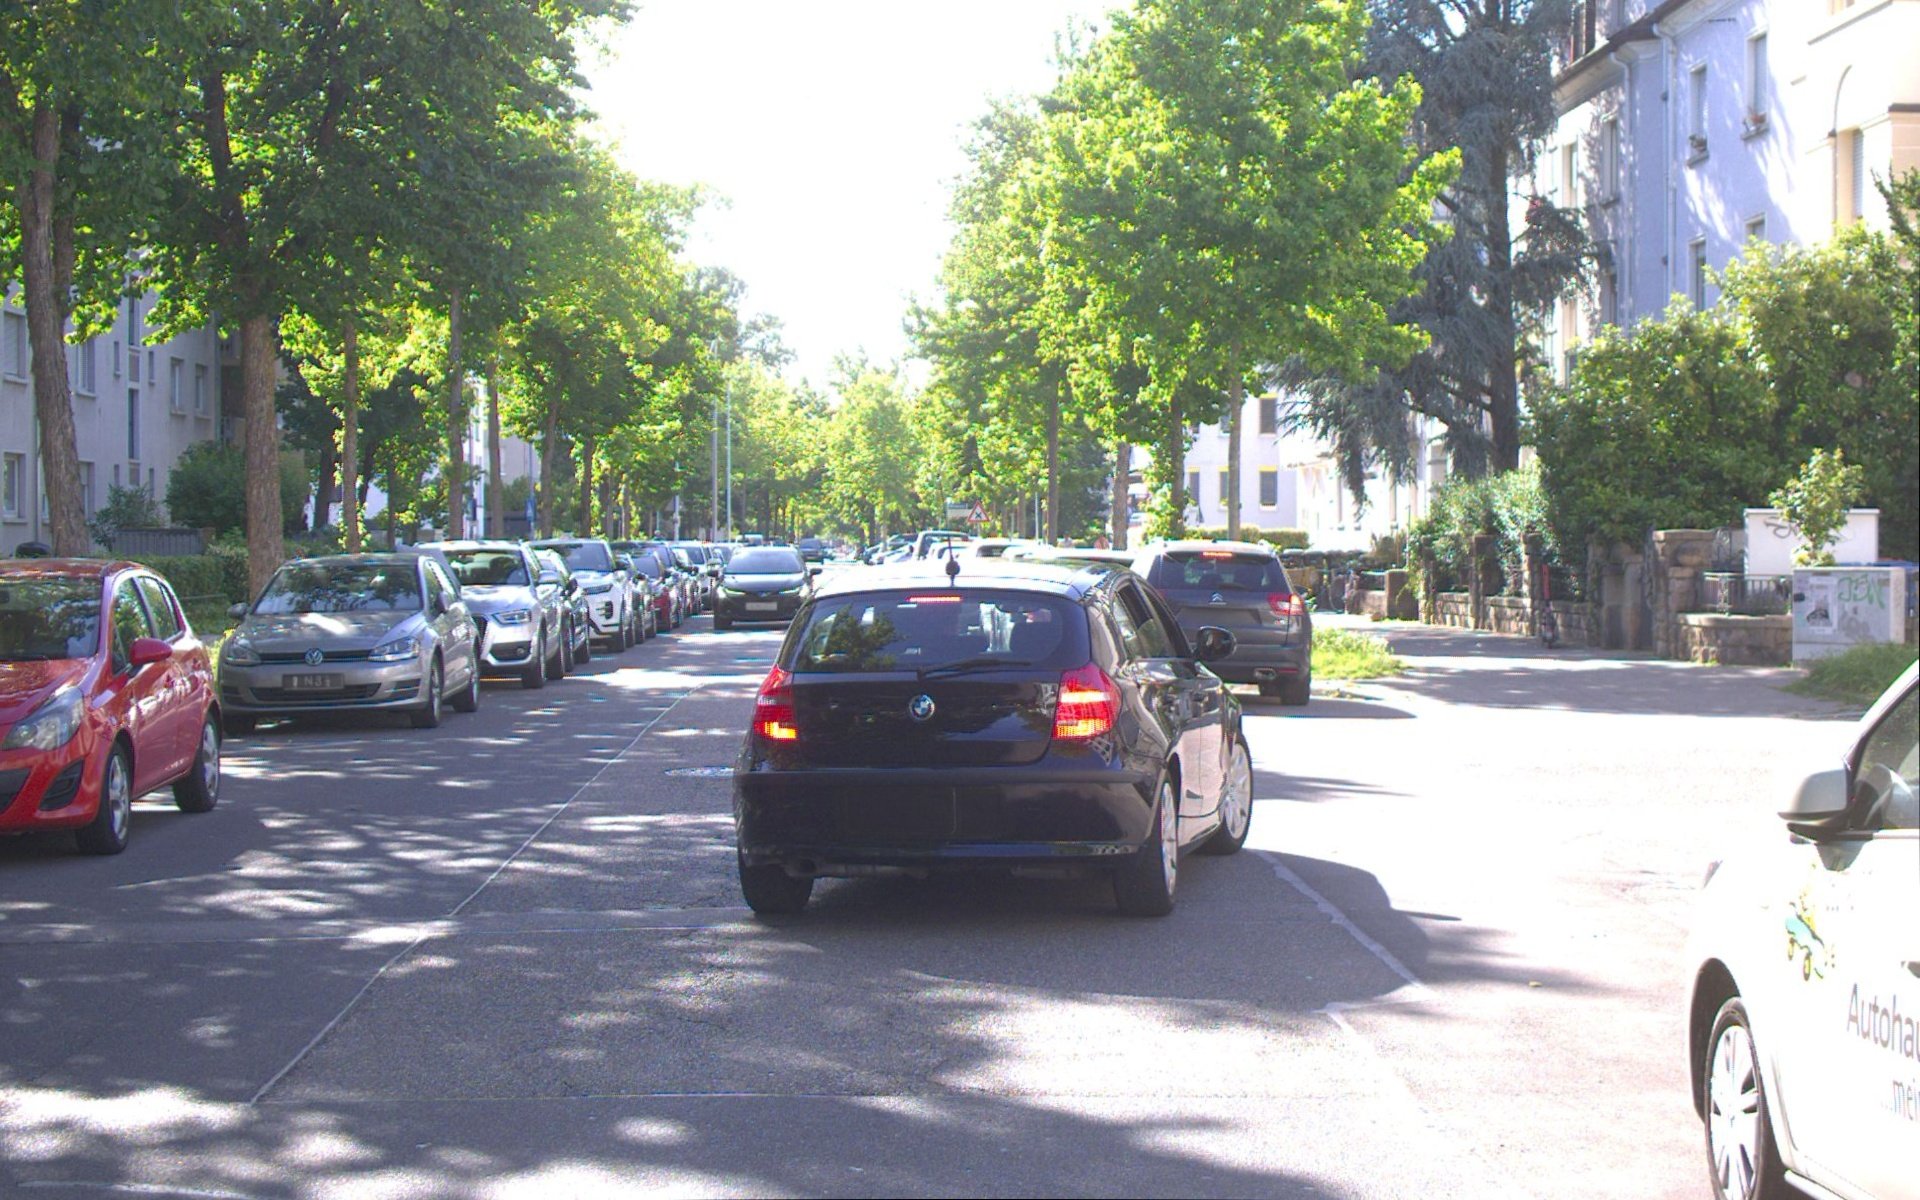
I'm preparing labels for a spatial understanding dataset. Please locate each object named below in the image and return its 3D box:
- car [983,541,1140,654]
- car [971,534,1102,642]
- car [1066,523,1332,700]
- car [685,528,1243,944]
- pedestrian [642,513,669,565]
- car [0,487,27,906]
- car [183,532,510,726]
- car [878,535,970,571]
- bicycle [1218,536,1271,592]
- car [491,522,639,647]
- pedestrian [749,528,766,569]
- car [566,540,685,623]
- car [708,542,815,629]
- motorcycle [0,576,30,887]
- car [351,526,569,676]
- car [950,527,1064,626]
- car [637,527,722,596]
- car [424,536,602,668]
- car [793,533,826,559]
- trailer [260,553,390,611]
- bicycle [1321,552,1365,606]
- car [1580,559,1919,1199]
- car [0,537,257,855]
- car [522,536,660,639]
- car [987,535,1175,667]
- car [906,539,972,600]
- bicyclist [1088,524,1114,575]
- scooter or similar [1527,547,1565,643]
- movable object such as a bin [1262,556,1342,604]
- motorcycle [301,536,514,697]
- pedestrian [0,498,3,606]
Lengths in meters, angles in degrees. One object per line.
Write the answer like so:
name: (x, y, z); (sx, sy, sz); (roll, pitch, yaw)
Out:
car: (1.336, -0.077, 47.072); (1.710, 1.406, 4.862); (2, 1, -3)
car: (1.140, -0.219, 52.794); (1.654, 1.527, 3.970); (3, 1, -3)
car: (2.175, 0.084, 32.600); (1.895, 1.519, 4.968); (1, 0, -3)
car: (0.166, 0.464, 14.687); (1.783, 1.518, 3.999); (0, 1, 9)
pedestrian: (-11.841, -2.368, 133.728); (0.859, 2.007, 0.981); (0, 1, 7)
car: (-4.648, 0.437, 11.807); (1.767, 1.682, 4.815); (-1, 1, -3)
car: (-5.156, 0.185, 29.530); (2.043, 1.519, 4.606); (0, 1, -1)
car: (-1.615, -2.114, 153.872); (3.986, 1.581, 1.727); (0, 1, -5)
bicycle: (6.591, -0.837, 79.720); (0.838, 1.253, 2.232); (1, 1, -5)
car: (-5.589, -0.248, 49.104); (1.728, 1.612, 4.367); (-3, 1, -3)
pedestrian: (-9.519, -2.416, 161.456); (0.715, 1.894, 0.837); (0, 1, -11)
car: (-5.941, -0.355, 61.431); (1.779, 1.374, 4.263); (-2, 1, -1)
car: (-3.534, -0.286, 61.564); (1.809, 1.441, 4.367); (-1, 1, -3)
motorcycle: (-5.088, 0.570, 14.757); (1.954, 1.327, 0.787); (0, 1, 6)
car: (-5.354, -0.037, 37.356); (2.063, 1.519, 4.723); (0, 1, -5)
car: (0.815, -0.457, 62.369); (1.925, 1.646, 5.095); (2, 1, 0)
car: (-6.663, -0.939, 81.971); (1.811, 1.590, 4.233); (-1, 1, -2)
car: (-5.464, -0.021, 42.542); (1.728, 1.442, 4.821); (-2, 1, -2)
car: (-9.324, -3.318, 212.350); (1.782, 1.603, 4.001); (0, 1, -6)
trailer: (-11.700, -0.349, 63.548); (1.789, 1.030, 3.281); (0, 1, 0)
bicycle: (7.104, -0.389, 63.854); (0.581, 0.971, 1.903); (-1, 1, 0)
car: (2.505, 0.693, 6.386); (1.732, 1.482, 4.010); (1, 1, -4)
car: (-5.000, 0.408, 18.061); (1.856, 1.464, 4.182); (0, 1, -1)
car: (-5.792, -0.229, 54.444); (1.728, 1.472, 4.619); (-3, 1, -1)
car: (1.419, -0.032, 42.082); (1.821, 1.464, 4.910); (2, 1, -3)
car: (-0.700, -1.017, 112.507); (1.970, 1.942, 4.986); (0, 1, -2)
bicyclist: (4.359, -1.559, 106.226); (0.676, 1.548, 1.022); (0, 1, -5)
scooter or similar: (7.391, -0.072, 43.341); (0.402, 1.181, 1.205); (0, 2, 13)
movable object such as a bin: (6.708, -0.394, 67.355); (1.222, 0.901, 1.663); (0, 1, 19)
motorcycle: (-5.380, 0.143, 33.379); (0.987, 1.498, 2.233); (-2, 1, -41)
pedestrian: (-17.484, -0.844, 60.587); (0.782, 1.907, 0.877); (0, 1, 25)
